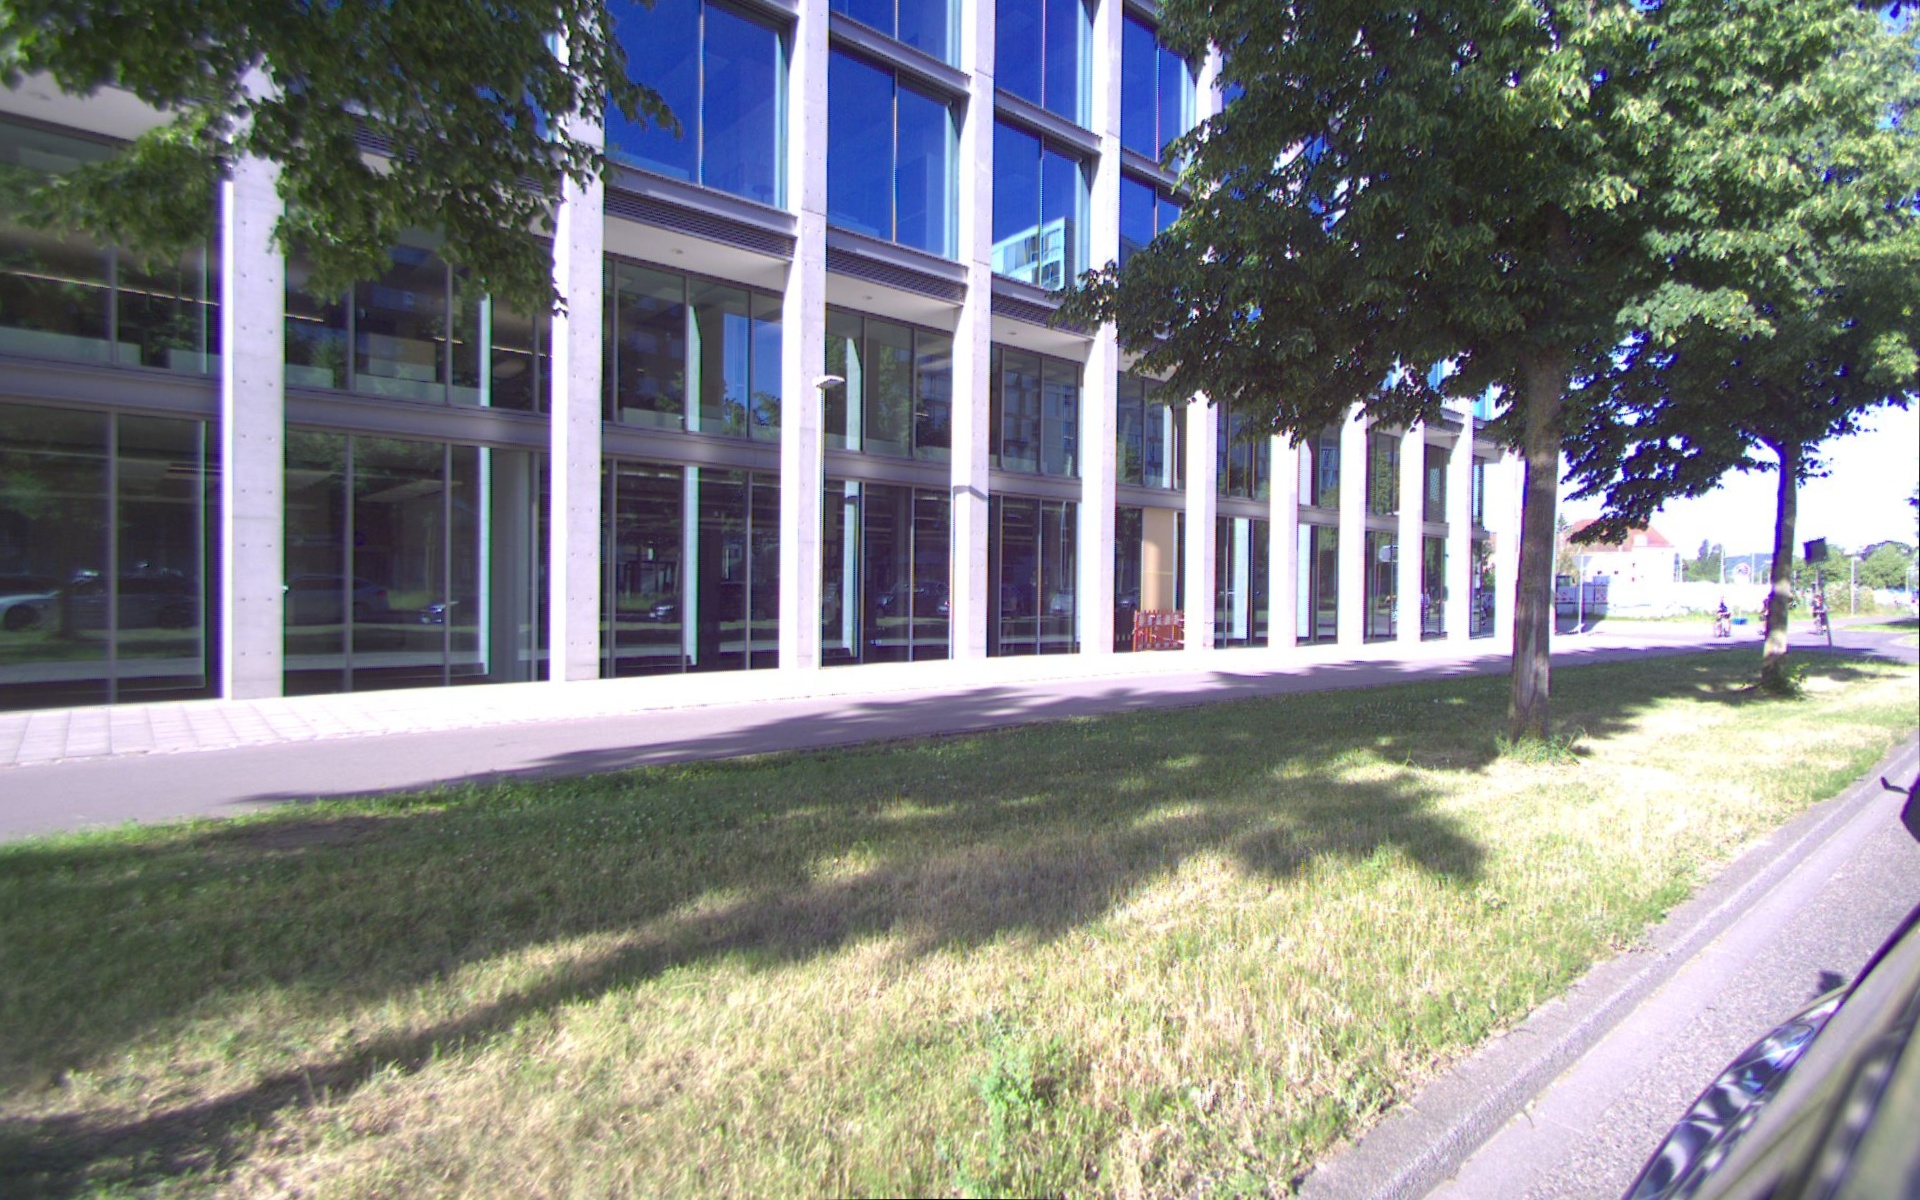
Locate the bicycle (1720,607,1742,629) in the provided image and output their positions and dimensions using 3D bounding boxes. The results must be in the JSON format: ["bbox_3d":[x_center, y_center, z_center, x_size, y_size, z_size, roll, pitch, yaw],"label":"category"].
[{"bbox_3d":[30.544,0.696,40.084,1.297,0.828,0.415,-1,0,-41],"label":"bicycle"}]

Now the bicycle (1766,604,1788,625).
[{"bbox_3d":[34.187,0.598,42.351,1.321,0.828,0.464,-1,0,-40],"label":"bicycle"}]

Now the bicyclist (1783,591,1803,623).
[{"bbox_3d":[32.228,0.259,39.157,0.498,1.232,0.534,-1,0,-40],"label":"bicyclist"}]

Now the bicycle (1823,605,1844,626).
[{"bbox_3d":[35.855,0.634,41.533,1.321,0.828,0.464,-1,0,-40],"label":"bicycle"}]

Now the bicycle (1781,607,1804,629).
[{"bbox_3d":[32.232,0.690,39.163,1.321,0.828,0.464,-1,0,-40],"label":"bicycle"}]

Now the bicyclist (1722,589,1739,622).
[{"bbox_3d":[30.551,0.228,40.110,0.410,1.305,0.448,-1,0,-40],"label":"bicyclist"}]

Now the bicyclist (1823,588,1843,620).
[{"bbox_3d":[35.826,0.154,41.536,0.512,1.305,0.534,-1,0,-40],"label":"bicyclist"}]
